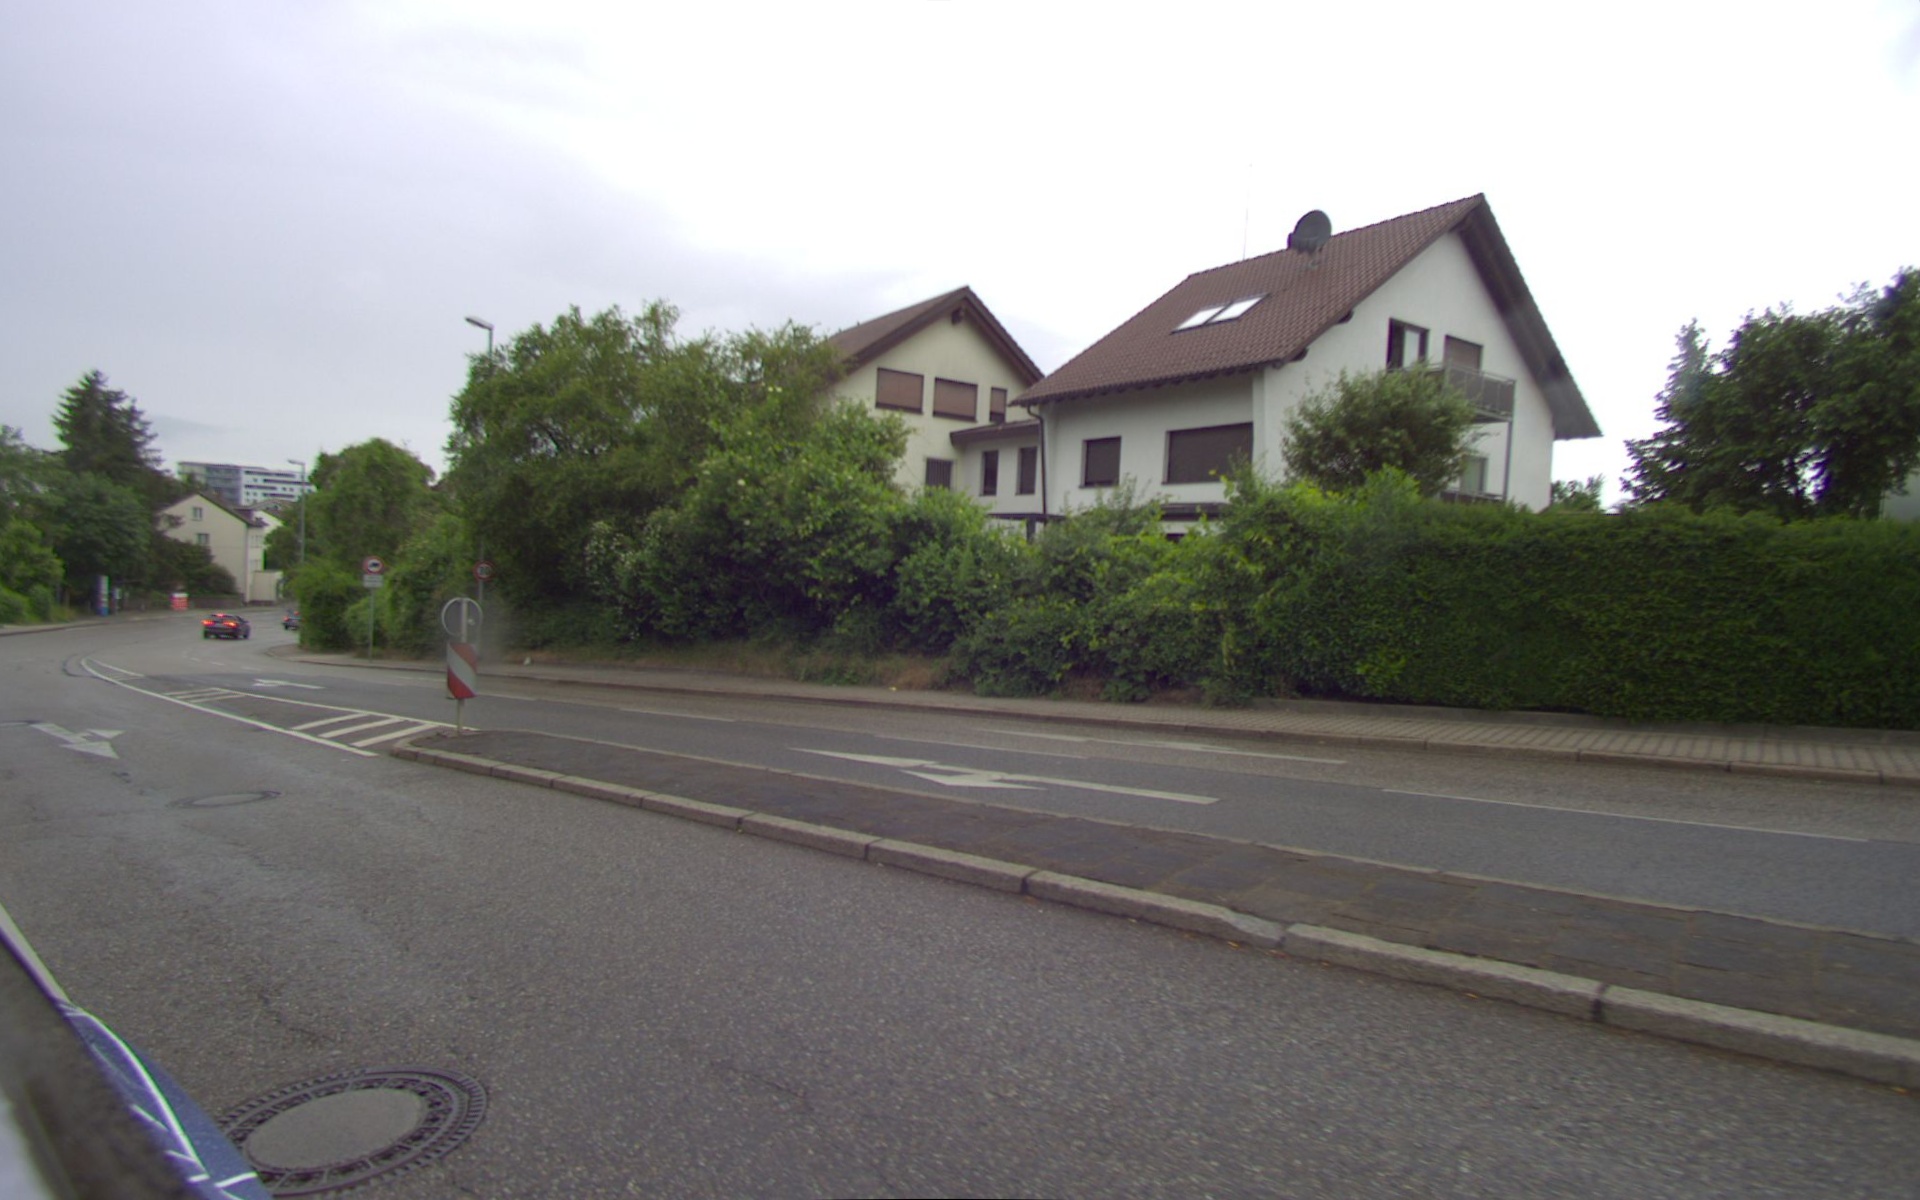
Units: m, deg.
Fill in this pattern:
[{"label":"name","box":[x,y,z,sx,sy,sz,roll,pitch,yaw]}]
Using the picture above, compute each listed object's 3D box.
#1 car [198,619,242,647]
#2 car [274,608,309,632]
[{"label":"car","box":[-51.494,2.287,70.488,1.928,1.860,4.012,3,-3,-29]},{"label":"car","box":[-58.161,1.775,88.131,2.096,2.029,4.099,1,-2,-27]}]
